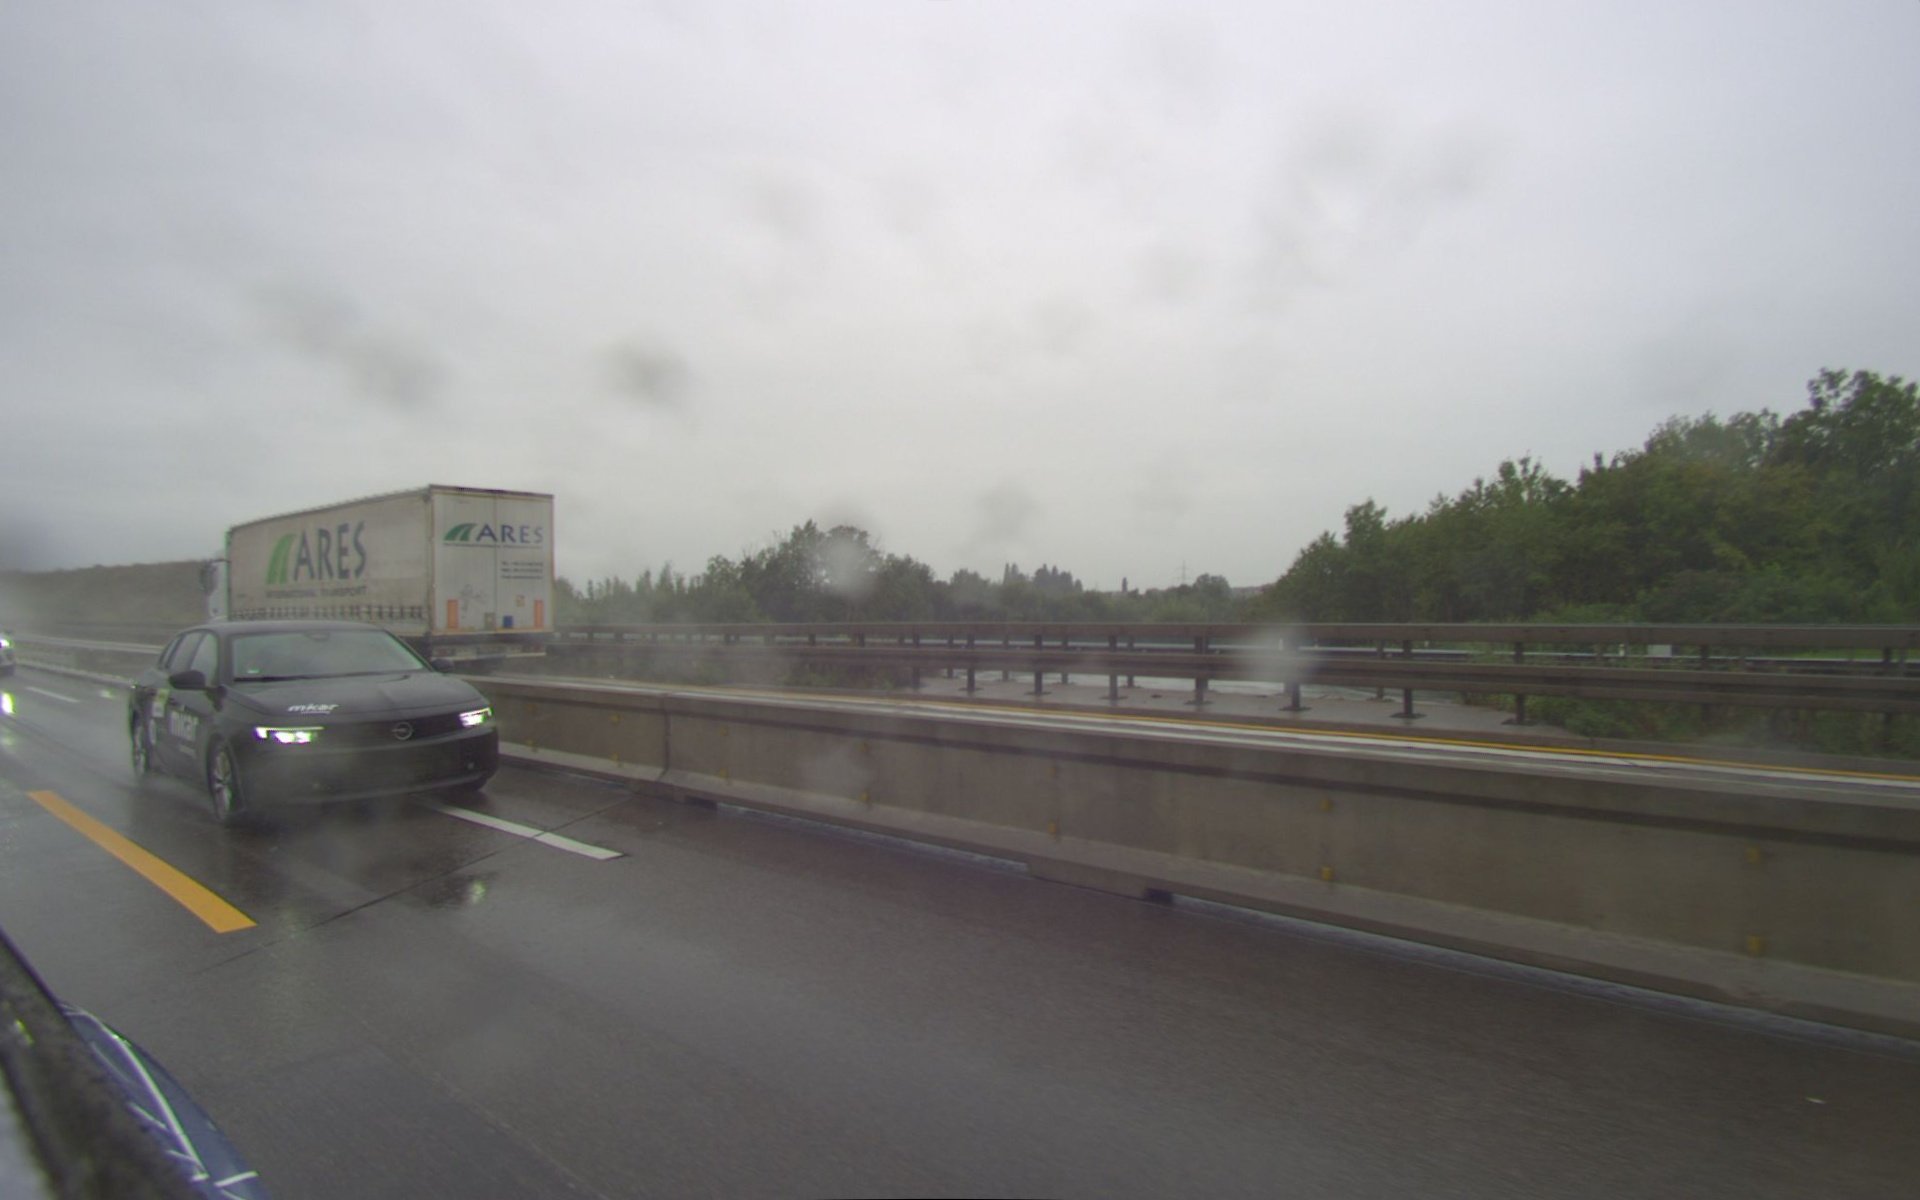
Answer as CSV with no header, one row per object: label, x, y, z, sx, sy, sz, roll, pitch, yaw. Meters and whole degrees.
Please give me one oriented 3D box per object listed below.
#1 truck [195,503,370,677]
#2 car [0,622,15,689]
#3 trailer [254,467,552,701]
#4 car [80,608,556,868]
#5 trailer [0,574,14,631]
truck,-19.741,-0.250,29.318,6.877,4.496,2.477,0,0,41
car,-26.487,1.450,26.611,3.997,1.693,1.947,0,0,40
trailer,-13.592,-0.289,23.967,11.189,4.476,2.459,0,0,41
car,-5.449,0.894,8.305,4.791,1.539,1.919,-2,-3,40
trailer,-74.259,0.217,76.576,12.307,4.140,2.623,0,0,41
